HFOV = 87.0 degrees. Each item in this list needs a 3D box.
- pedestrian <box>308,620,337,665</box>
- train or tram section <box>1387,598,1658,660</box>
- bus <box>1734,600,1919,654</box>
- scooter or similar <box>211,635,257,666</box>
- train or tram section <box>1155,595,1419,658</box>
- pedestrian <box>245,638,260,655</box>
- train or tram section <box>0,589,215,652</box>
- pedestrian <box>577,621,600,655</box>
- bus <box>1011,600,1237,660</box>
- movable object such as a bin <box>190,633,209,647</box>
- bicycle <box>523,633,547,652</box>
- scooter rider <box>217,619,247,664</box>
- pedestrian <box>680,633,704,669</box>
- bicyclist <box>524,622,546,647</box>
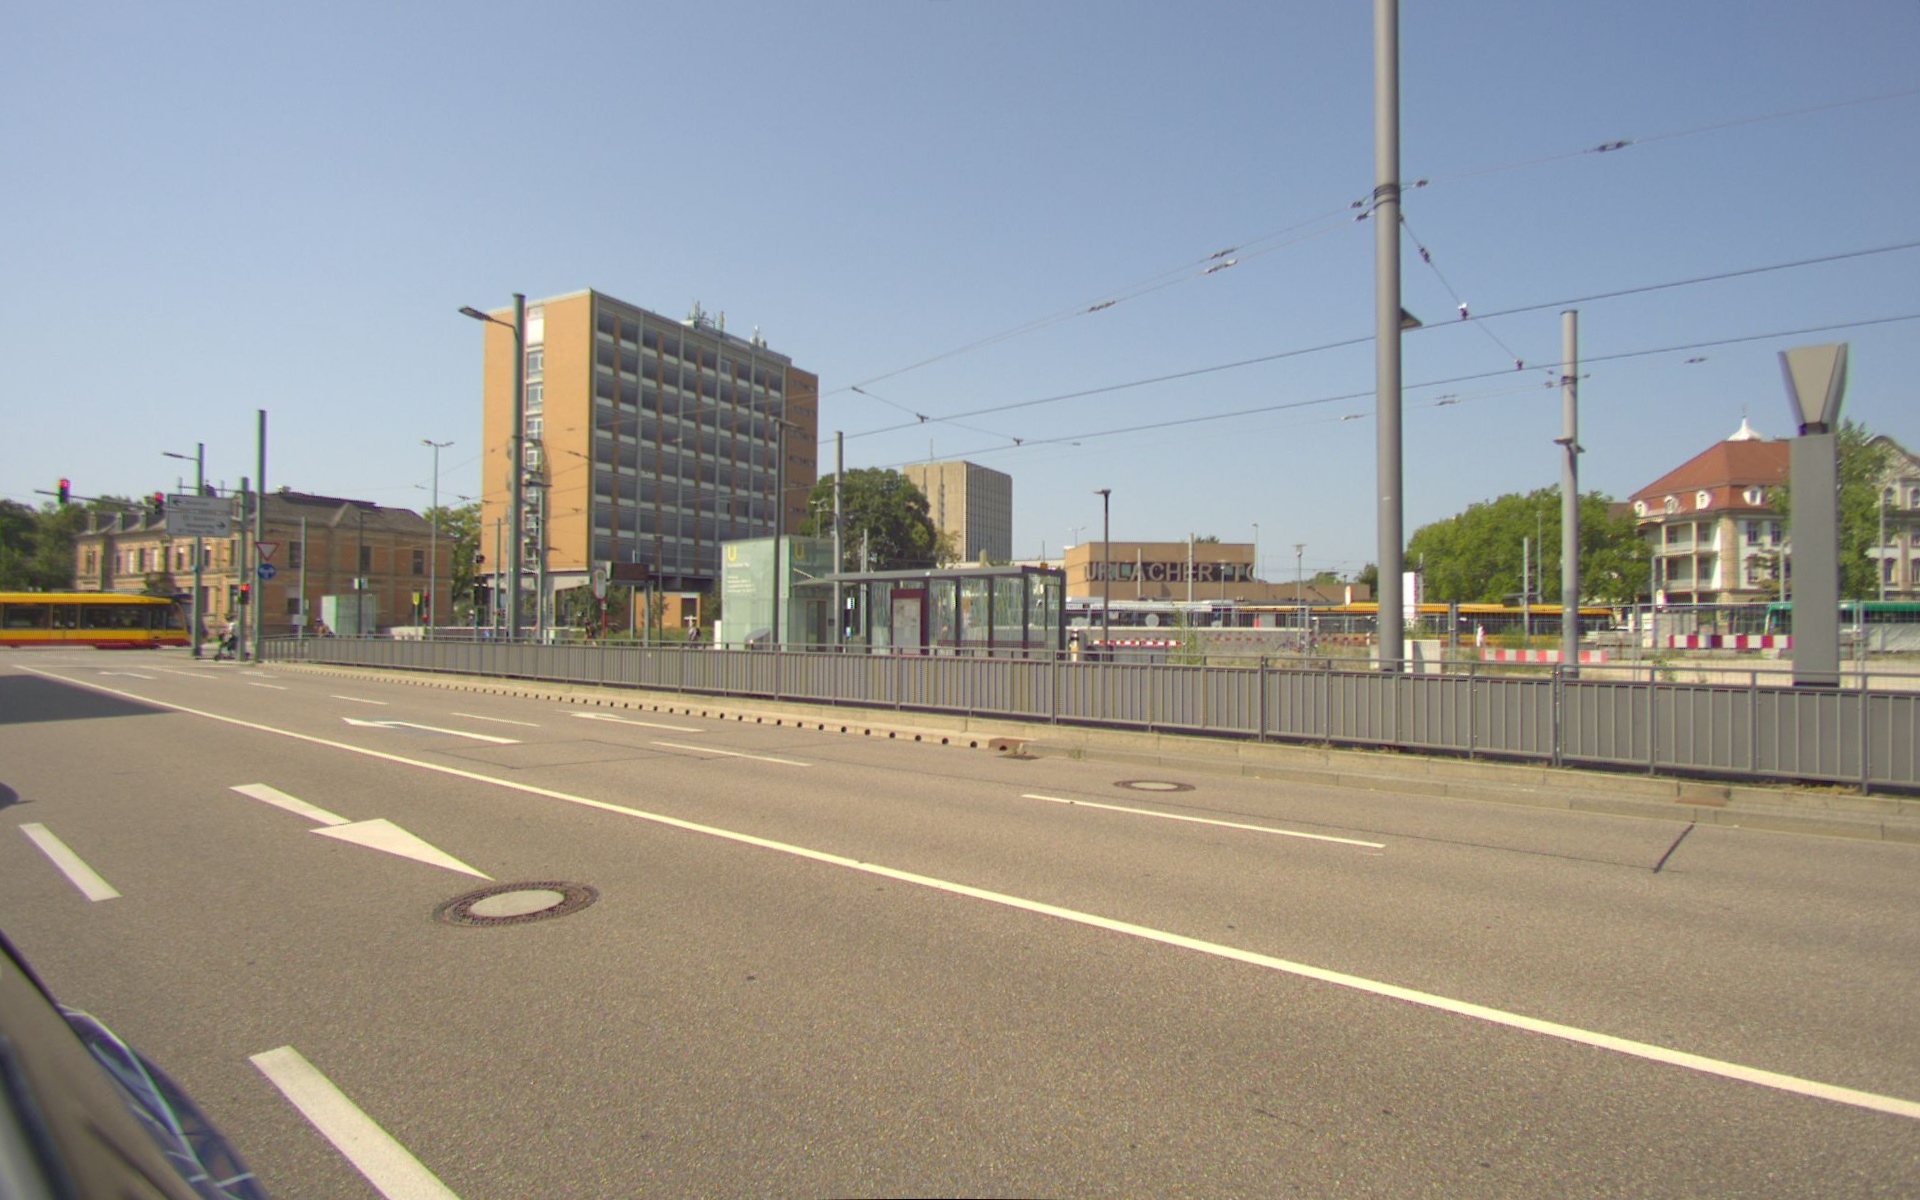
[{"bbox_3d":[-24.235,1.615,38.459,0.796,1.672,0.569,-3,-3,23],"label":"pedestrian"},{"bbox_3d":[38.132,2.050,68.991,16.419,3.951,4.067,1,-3,-4],"label":"train or tram section"},{"bbox_3d":[54.787,1.681,62.562,12.246,3.055,2.544,-1,-3,-5],"label":"bus"},{"bbox_3d":[-28.021,1.936,39.071,0.709,1.157,1.323,-1,-2,42],"label":"scooter or similar"},{"bbox_3d":[21.718,1.856,67.878,16.419,3.951,4.067,1,-3,-4],"label":"train or tram section"},{"bbox_3d":[-57.982,3.783,82.933,0.787,1.405,0.836,-2,-3,43],"label":"pedestrian"},{"bbox_3d":[-51.998,1.274,60.402,12.014,3.588,2.602,1,-2,-12],"label":"train or tram section"},{"bbox_3d":[-19.871,2.047,54.125,0.959,1.793,0.774,0,-2,44],"label":"pedestrian"},{"bbox_3d":[9.410,1.749,58.465,12.561,3.356,2.681,0,-2,-6],"label":"bus"},{"bbox_3d":[-64.234,3.376,85.482,1.022,1.093,0.822,-1,-3,-7],"label":"movable object such as a bin"},{"bbox_3d":[-24.921,2.490,59.352,0.606,1.077,1.914,2,-3,-45],"label":"bicycle"},{"bbox_3d":[-28.065,1.587,39.013,0.778,1.686,0.763,-1,-2,40],"label":"scooter rider"},{"bbox_3d":[-13.697,2.583,51.646,0.959,1.793,0.774,0,-2,44],"label":"pedestrian"},{"bbox_3d":[-24.952,2.017,59.382,0.980,1.470,0.865,-2,-3,45],"label":"bicyclist"}]
